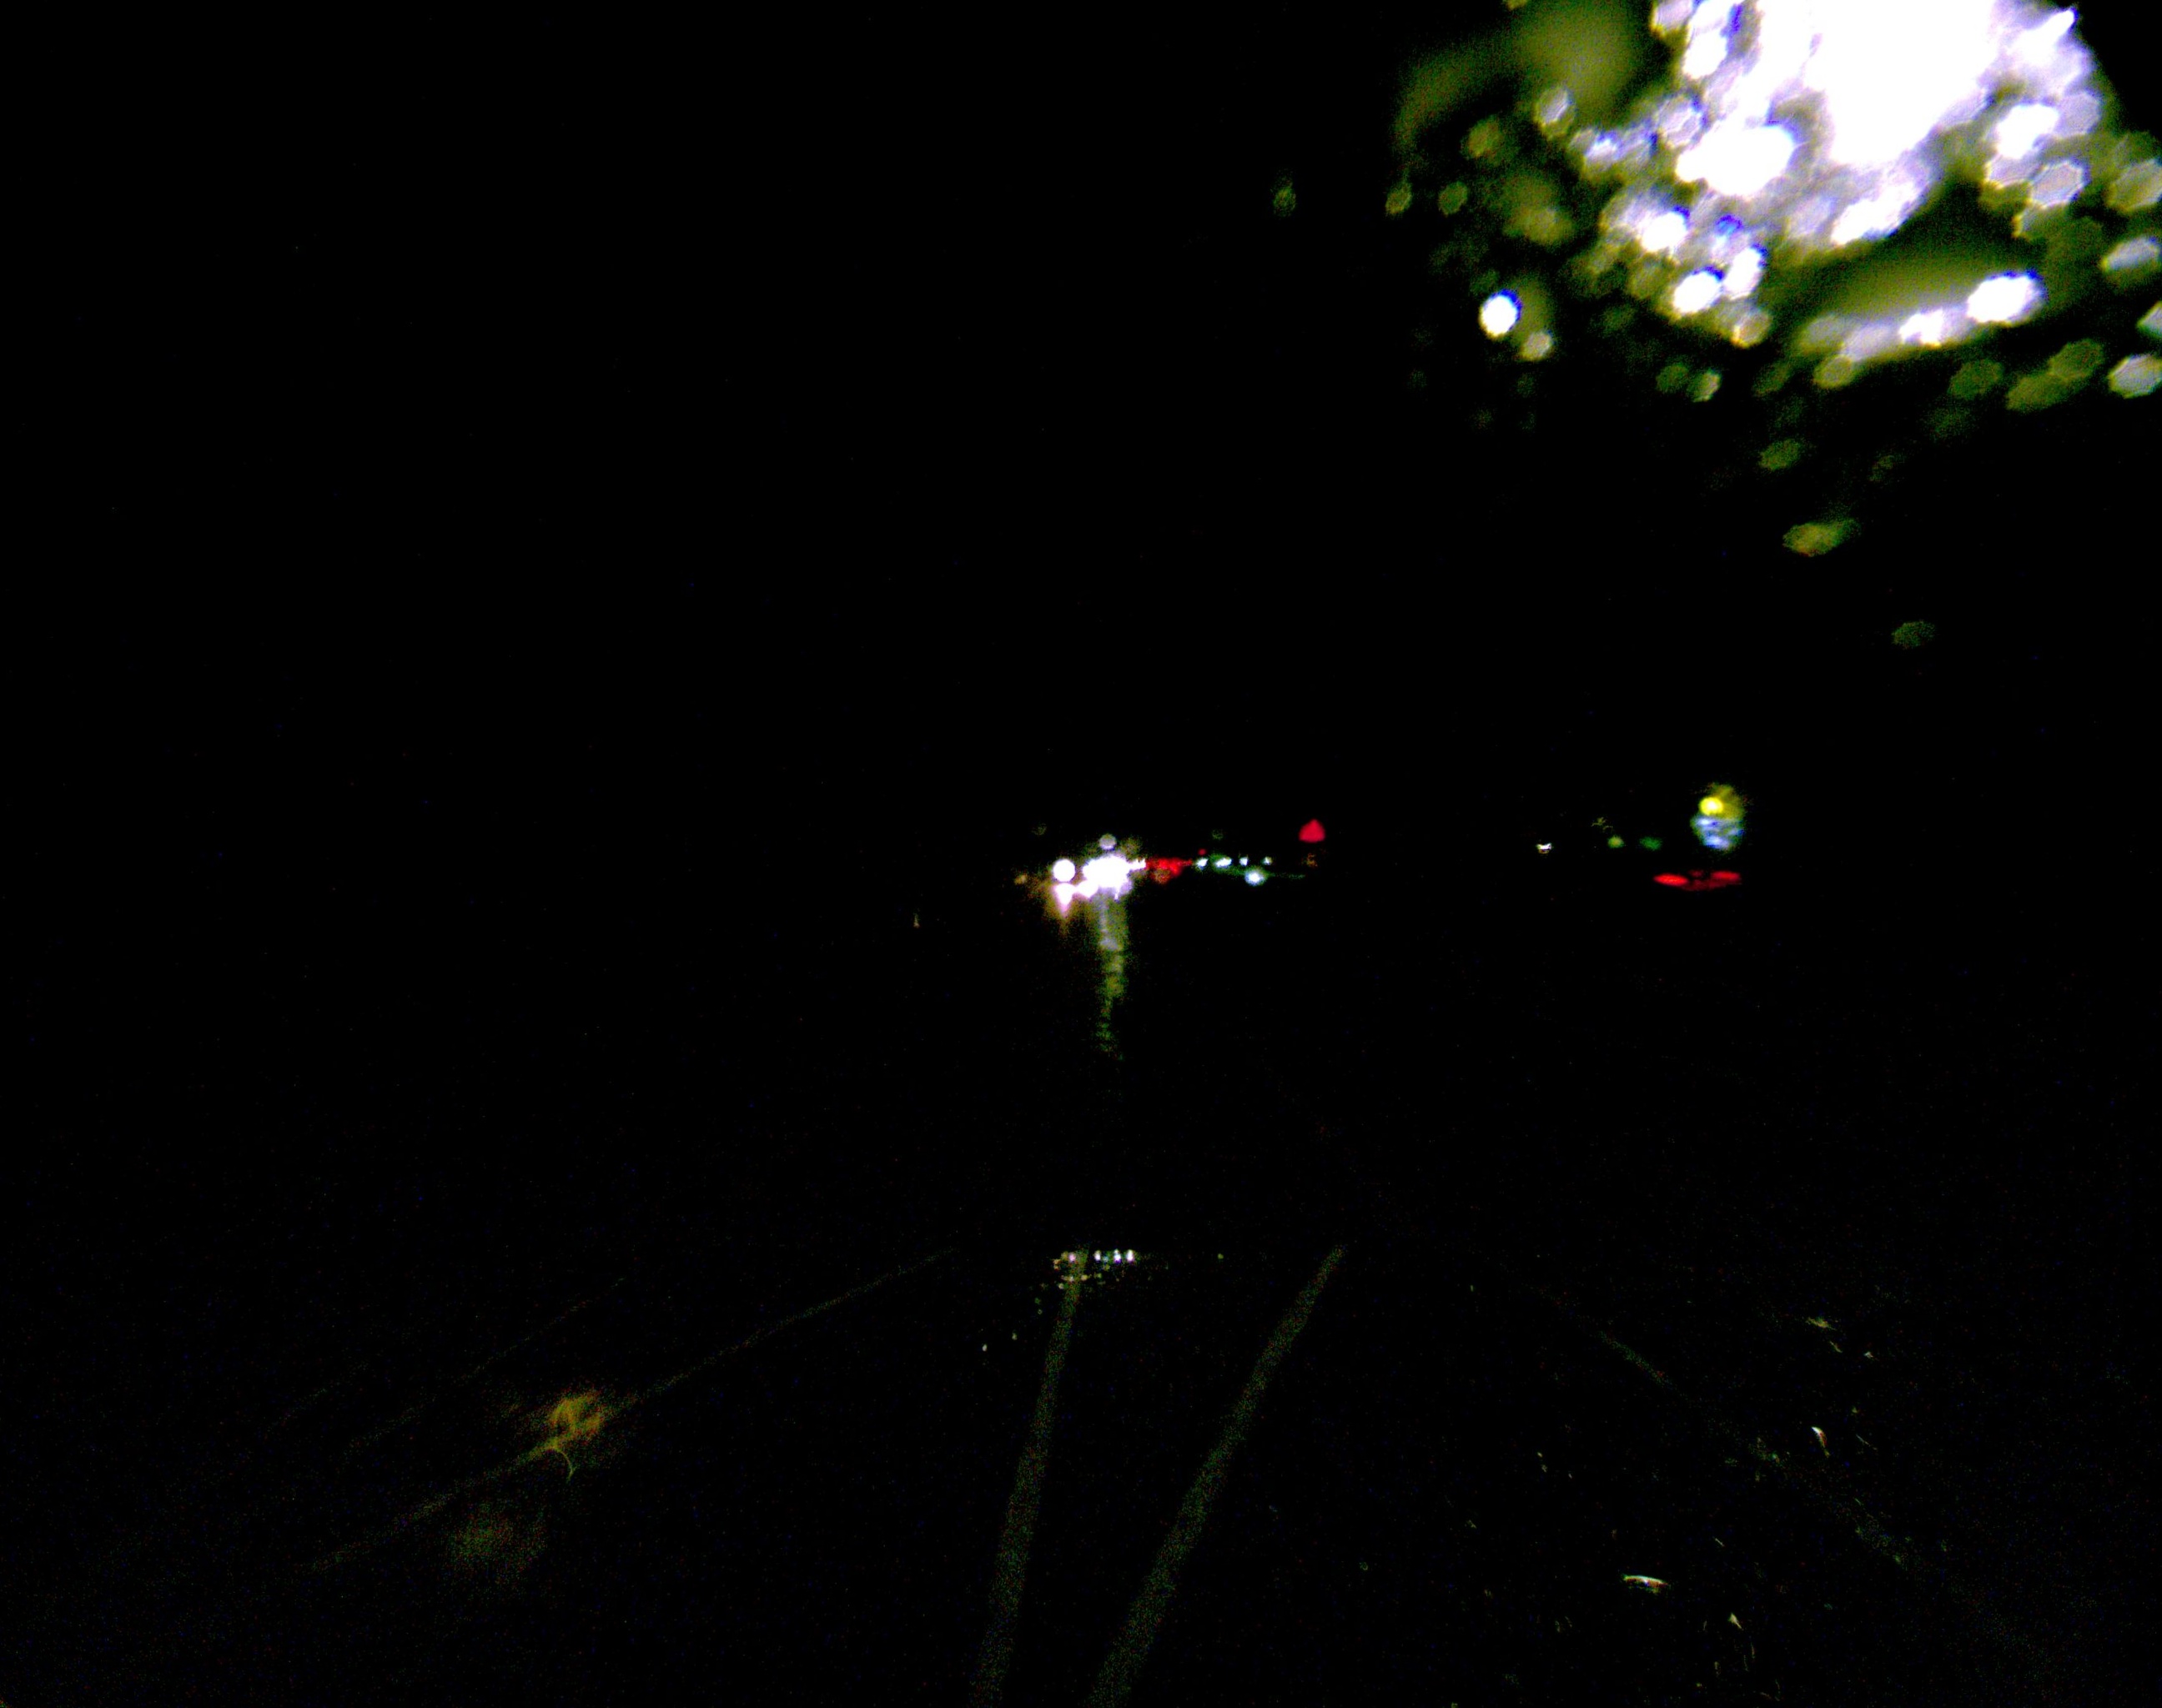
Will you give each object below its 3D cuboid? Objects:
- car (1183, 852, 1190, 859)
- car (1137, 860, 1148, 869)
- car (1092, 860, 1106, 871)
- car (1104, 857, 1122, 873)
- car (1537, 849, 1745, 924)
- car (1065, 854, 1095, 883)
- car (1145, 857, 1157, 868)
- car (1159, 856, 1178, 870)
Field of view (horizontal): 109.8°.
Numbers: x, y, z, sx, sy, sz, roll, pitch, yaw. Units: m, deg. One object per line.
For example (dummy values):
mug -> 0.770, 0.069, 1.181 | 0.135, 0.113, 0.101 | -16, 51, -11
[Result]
car -> 33.688, 0.500, 242.593 | 1.997, 2.002, 4.002 | -1, 1, 9
car -> 14.756, 2.463, 183.513 | 1.996, 2.002, 4.003 | -1, 1, 14
car -> 2.551, 1.657, 107.114 | 1.807, 1.416, 4.206 | -1, 1, 4
car -> 3.588, 1.224, 85.070 | 1.914, 1.694, 4.939 | -1, 0, 2
car -> 14.135, 0.729, 19.566 | 1.713, 1.643, 4.504 | -1, 1, -7
car -> -0.101, 0.914, 51.186 | 1.877, 1.825, 4.205 | -1, 0, -1
car -> 10.821, 1.285, 116.979 | 1.807, 1.416, 4.206 | -1, 1, 6
car -> 11.152, 1.125, 96.655 | 2.093, 1.691, 4.578 | -1, 1, 3
